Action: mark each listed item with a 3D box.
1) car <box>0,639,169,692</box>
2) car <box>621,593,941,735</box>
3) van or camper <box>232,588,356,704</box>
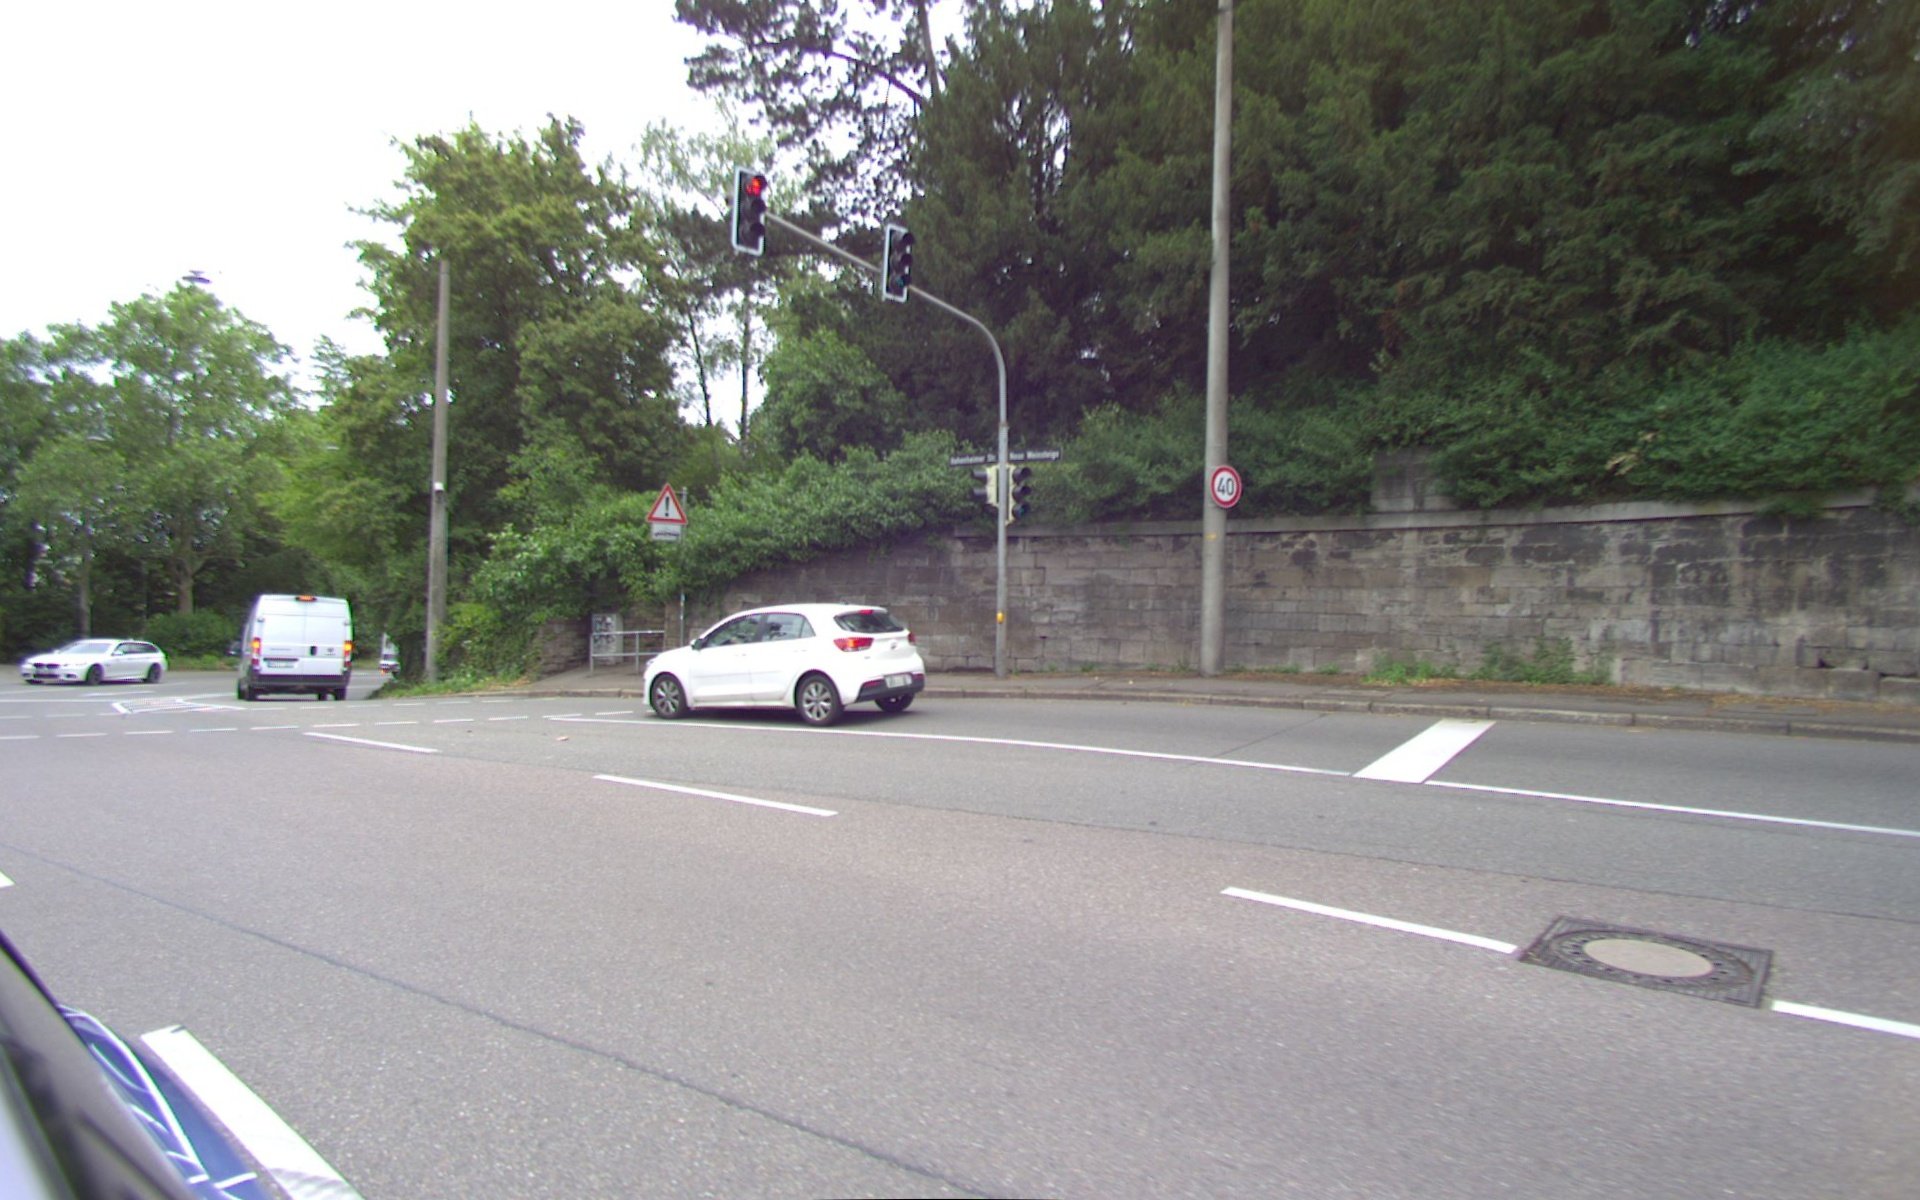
[{"bbox_3d":[-28.350,2.086,32.967,1.795,1.482,4.792,5,-3,-8],"label":"car"},{"bbox_3d":[-2.407,0.767,13.193,4.102,1.568,1.622,-2,0,34],"label":"car"},{"bbox_3d":[-16.739,1.274,25.310,2.173,2.566,5.369,2,-6,-37],"label":"van or camper"}]
